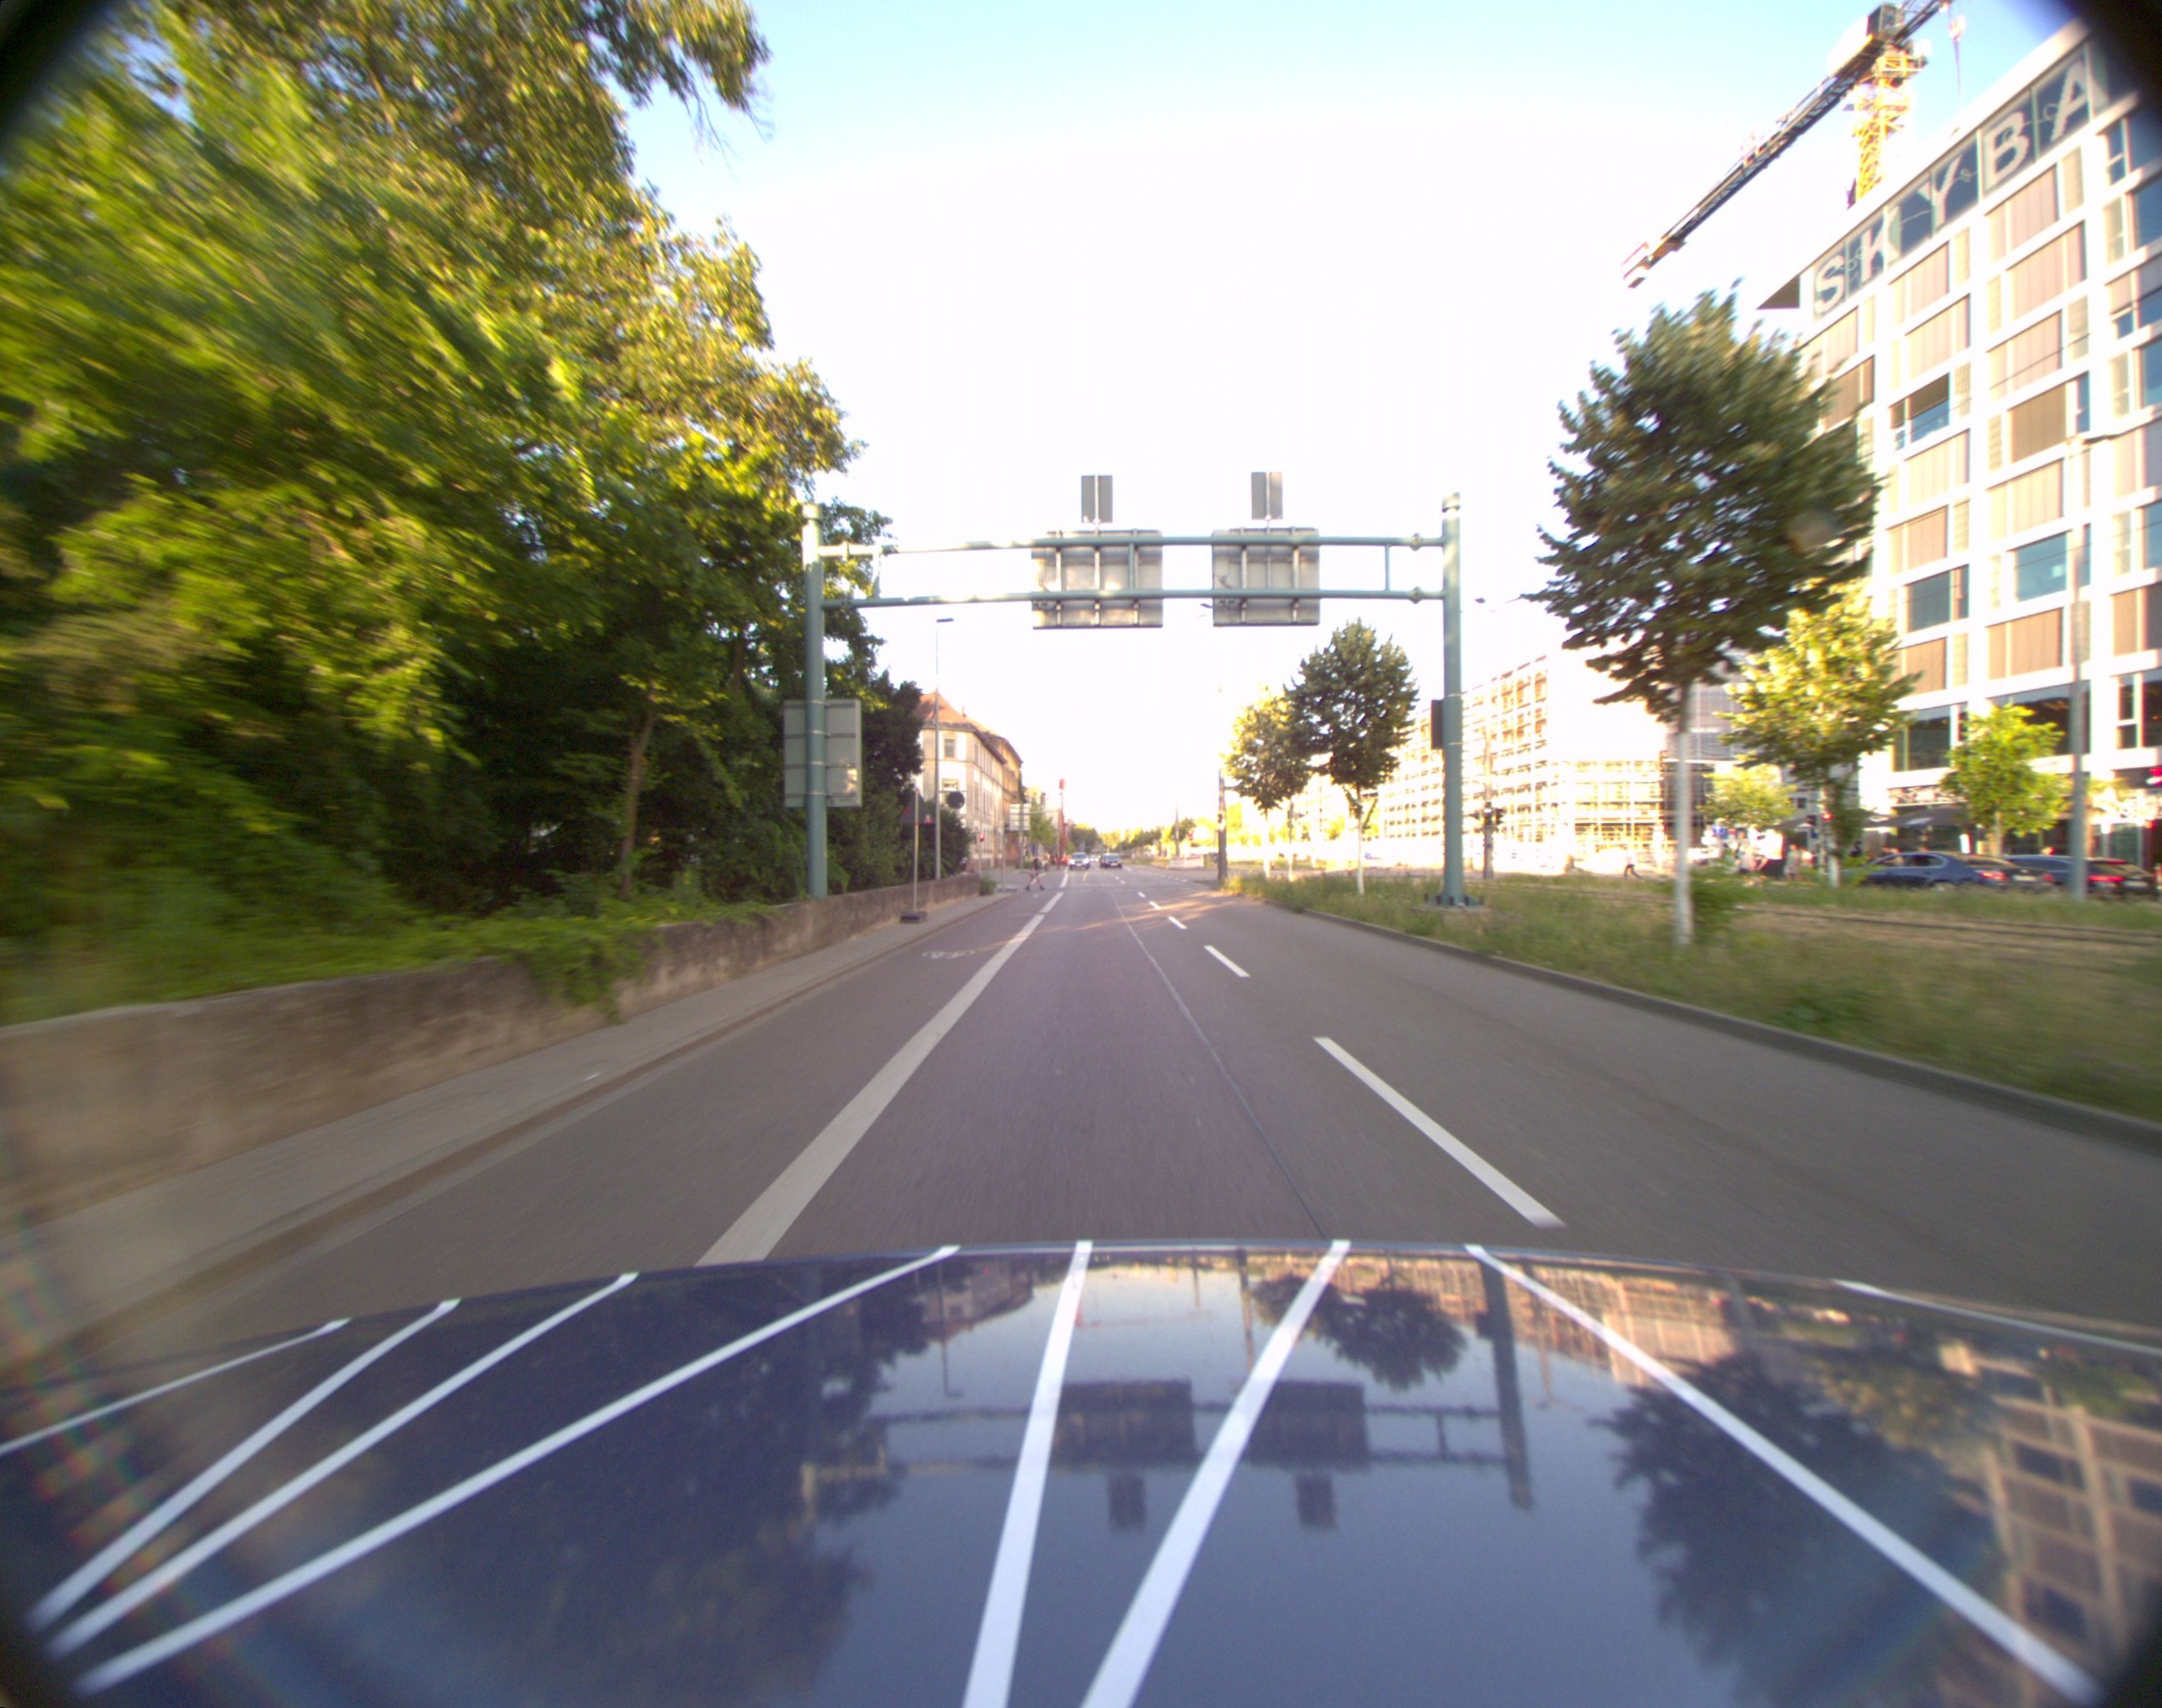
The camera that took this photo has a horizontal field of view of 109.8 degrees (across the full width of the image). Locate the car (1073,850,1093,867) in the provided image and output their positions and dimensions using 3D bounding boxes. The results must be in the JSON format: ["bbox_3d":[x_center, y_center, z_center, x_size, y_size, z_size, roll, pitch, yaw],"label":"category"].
[{"bbox_3d":[0.212,0.443,74.905,1.833,1.588,4.260,-1,0,2],"label":"car"}]

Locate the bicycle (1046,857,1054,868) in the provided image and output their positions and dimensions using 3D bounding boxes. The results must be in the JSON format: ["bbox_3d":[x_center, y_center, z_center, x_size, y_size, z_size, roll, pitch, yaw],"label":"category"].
[{"bbox_3d":[-3.073,0.798,74.927,0.517,1.045,2.044,1,0,4],"label":"bicycle"}]

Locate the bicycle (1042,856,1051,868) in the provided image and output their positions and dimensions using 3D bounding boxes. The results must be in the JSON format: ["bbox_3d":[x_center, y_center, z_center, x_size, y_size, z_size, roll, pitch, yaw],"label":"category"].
[{"bbox_3d":[-3.272,0.792,72.535,0.528,1.045,2.048,2,2,4],"label":"bicycle"}]

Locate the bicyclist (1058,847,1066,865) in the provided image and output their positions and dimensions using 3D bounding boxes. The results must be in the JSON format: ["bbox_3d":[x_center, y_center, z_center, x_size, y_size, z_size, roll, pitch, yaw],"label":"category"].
[{"bbox_3d":[-1.819,0.192,72.812,0.705,1.692,0.768,-2,2,0],"label":"bicyclist"}]

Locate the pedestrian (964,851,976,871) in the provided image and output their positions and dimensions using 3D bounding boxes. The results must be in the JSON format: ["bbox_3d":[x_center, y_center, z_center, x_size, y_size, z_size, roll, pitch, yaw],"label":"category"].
[{"bbox_3d":[-9.066,0.573,62.126,0.819,1.647,0.636,-1,1,-18],"label":"pedestrian"}]

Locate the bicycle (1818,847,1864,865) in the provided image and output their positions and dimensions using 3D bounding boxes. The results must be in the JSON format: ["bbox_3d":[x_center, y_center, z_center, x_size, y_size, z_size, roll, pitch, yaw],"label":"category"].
[{"bbox_3d":[40.271,0.129,40.308,0.394,0.869,1.979,-2,-2,0],"label":"bicycle"}]

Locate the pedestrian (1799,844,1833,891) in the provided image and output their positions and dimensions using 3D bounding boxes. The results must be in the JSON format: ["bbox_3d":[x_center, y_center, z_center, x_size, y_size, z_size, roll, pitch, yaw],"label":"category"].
[{"bbox_3d":[30.512,0.543,31.557,0.680,1.913,0.708,-3,1,2],"label":"pedestrian"}]

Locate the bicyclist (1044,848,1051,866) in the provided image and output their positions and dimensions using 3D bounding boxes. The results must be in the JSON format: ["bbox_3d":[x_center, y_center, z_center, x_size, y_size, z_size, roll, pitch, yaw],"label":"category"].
[{"bbox_3d":[-3.243,0.300,72.768,0.509,1.692,0.768,2,2,4],"label":"bicyclist"}]

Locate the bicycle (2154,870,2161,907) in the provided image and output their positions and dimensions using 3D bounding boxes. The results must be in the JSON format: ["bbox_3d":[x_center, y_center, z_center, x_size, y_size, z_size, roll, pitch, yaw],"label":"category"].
[{"bbox_3d":[31.760,0.947,21.612,1.914,1.053,0.443,-2,1,-2],"label":"bicycle"}]

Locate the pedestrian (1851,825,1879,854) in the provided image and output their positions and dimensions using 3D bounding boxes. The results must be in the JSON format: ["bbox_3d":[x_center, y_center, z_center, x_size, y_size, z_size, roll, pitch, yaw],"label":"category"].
[{"bbox_3d":[39.914,-0.716,38.701,0.605,1.454,0.773,0,1,1],"label":"pedestrian"}]

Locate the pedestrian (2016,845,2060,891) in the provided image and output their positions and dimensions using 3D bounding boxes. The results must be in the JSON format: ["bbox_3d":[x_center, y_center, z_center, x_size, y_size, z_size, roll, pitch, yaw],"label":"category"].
[{"bbox_3d":[34.559,0.500,27.439,0.681,1.594,0.708,-3,1,-6],"label":"pedestrian"}]

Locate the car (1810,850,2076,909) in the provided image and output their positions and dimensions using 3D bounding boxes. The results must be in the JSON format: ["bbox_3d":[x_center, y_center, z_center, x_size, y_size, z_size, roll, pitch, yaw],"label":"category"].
[{"bbox_3d":[23.811,0.639,21.355,2.020,1.432,4.801,1,0,1],"label":"car"}]

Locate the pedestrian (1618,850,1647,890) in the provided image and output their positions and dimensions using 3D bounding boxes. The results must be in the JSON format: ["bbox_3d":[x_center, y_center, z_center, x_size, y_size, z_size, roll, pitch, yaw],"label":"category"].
[{"bbox_3d":[25.573,0.732,35.237,0.708,1.825,0.763,-3,1,0],"label":"pedestrian"}]

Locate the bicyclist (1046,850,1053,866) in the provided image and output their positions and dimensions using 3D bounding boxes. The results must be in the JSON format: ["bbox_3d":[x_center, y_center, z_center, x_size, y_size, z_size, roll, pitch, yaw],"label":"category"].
[{"bbox_3d":[-3.089,0.357,74.585,0.512,1.539,0.692,1,1,4],"label":"bicyclist"}]

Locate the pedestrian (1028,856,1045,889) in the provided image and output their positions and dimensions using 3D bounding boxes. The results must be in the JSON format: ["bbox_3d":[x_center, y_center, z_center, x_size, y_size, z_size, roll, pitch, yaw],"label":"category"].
[{"bbox_3d":[-2.059,0.860,35.184,0.580,1.495,0.619,-4,0,8],"label":"pedestrian"}]

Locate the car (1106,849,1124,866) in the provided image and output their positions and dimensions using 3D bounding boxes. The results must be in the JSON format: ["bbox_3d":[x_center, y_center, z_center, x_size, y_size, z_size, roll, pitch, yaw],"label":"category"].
[{"bbox_3d":[3.415,0.369,75.743,1.702,1.588,4.260,-1,0,2],"label":"car"}]

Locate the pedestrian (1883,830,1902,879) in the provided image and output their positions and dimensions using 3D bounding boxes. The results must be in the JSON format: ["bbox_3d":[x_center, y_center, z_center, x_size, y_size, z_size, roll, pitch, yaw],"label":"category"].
[{"bbox_3d":[33.011,0.019,30.913,0.501,2.002,0.553,0,1,43],"label":"pedestrian"}]

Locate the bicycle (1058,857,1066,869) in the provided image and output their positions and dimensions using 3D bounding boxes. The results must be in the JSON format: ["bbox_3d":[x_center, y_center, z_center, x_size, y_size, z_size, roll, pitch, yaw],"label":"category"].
[{"bbox_3d":[-1.788,0.825,72.514,0.721,1.045,2.043,-2,1,0],"label":"bicycle"}]

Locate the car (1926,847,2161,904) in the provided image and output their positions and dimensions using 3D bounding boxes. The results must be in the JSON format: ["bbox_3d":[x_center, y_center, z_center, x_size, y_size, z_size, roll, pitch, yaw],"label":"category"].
[{"bbox_3d":[26.777,0.532,21.124,1.890,1.431,4.223,0,0,0],"label":"car"}]
